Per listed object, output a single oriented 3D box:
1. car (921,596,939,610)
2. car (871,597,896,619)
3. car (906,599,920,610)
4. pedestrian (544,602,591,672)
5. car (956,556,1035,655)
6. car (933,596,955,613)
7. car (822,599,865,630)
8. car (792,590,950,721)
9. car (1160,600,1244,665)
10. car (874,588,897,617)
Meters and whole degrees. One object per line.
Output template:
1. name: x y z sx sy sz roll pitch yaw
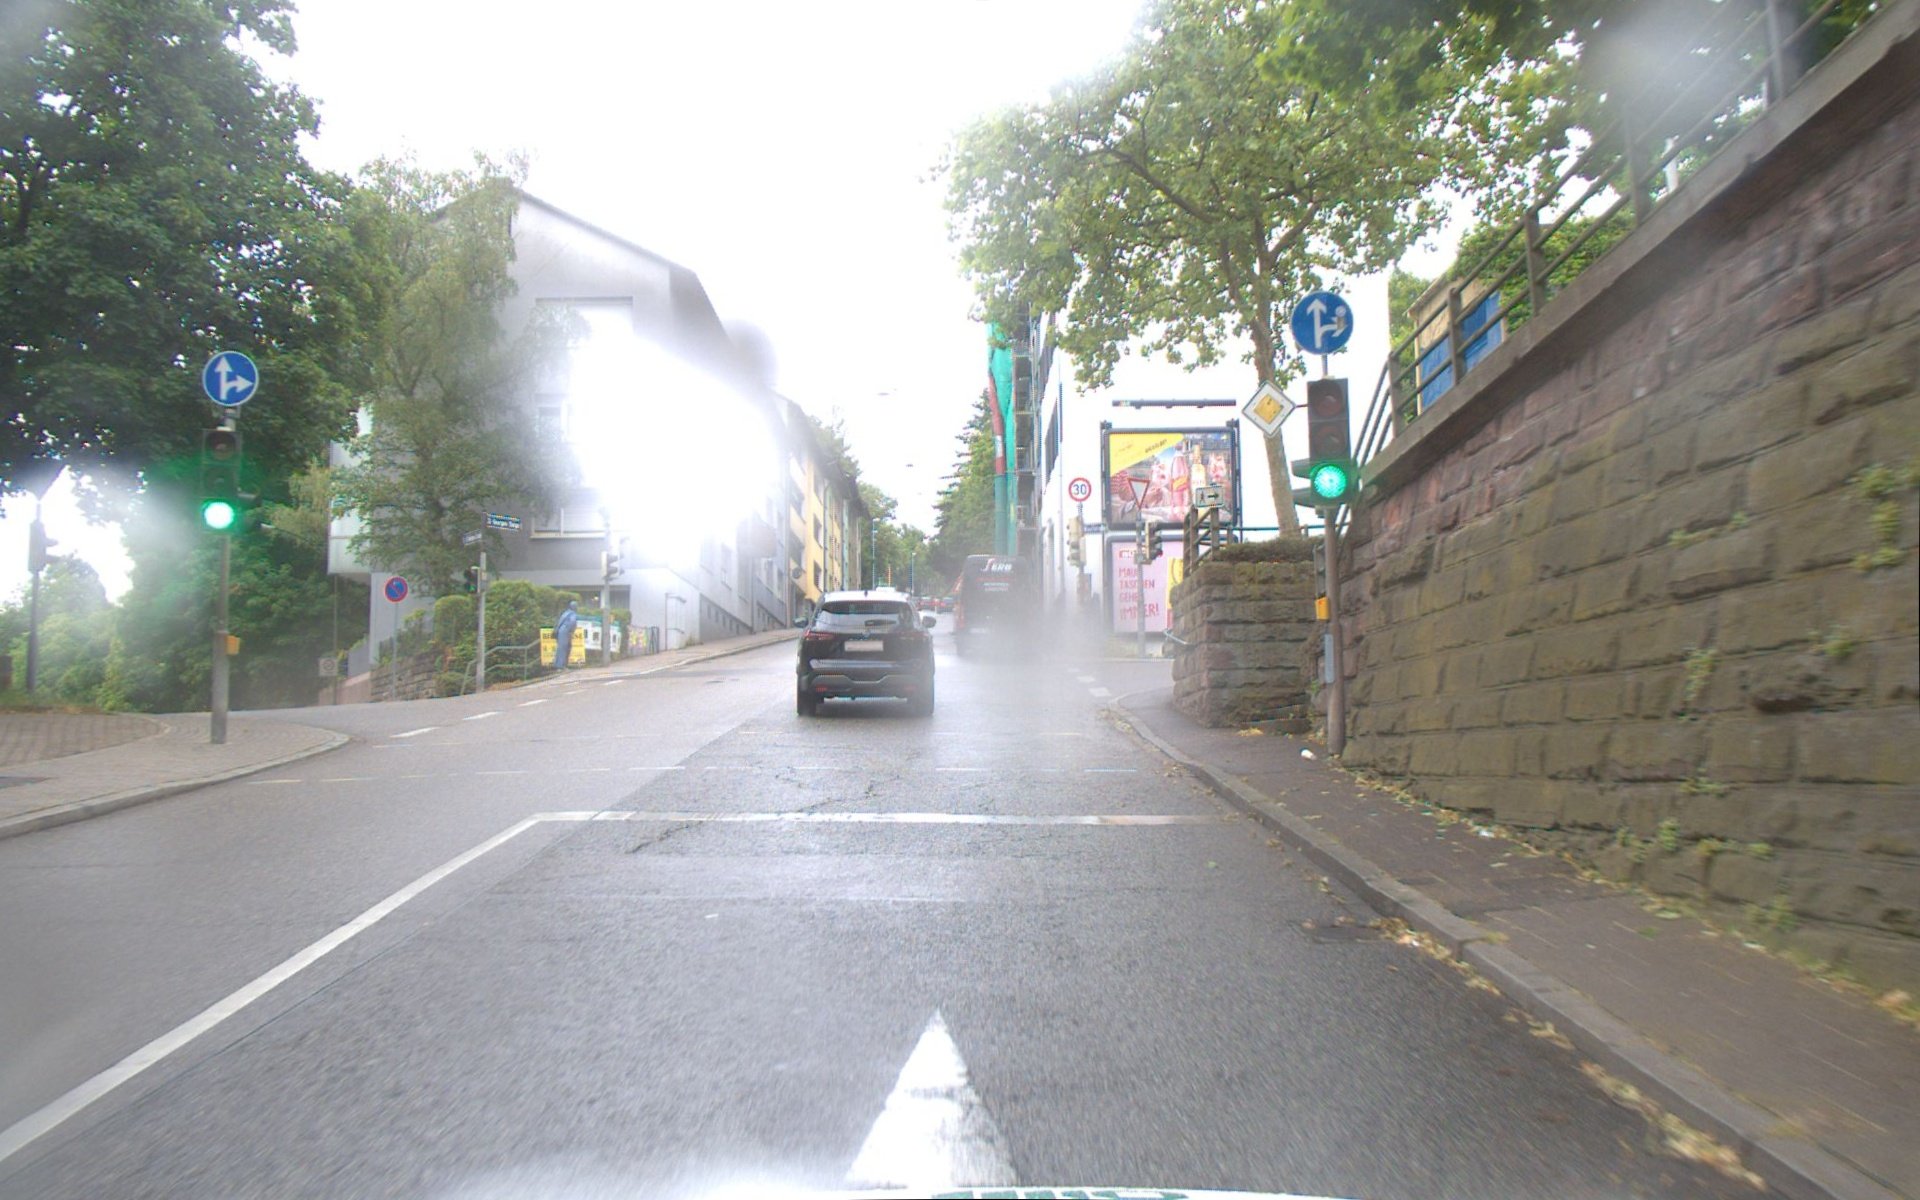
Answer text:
1. car: -3.518 0.317 192.595 2.032 1.587 3.999 0 0 -2
2. car: -6.382 0.676 138.340 1.950 1.786 4.478 -1 0 -2
3. car: -7.042 0.672 247.985 2.032 1.587 3.999 0 0 -2
4. pedestrian: -9.111 0.866 38.398 0.852 1.568 1.086 1 -2 -4
5. car: 0.902 0.227 44.838 1.953 2.456 5.835 1 -2 0
6. car: -1.523 0.421 154.891 2.033 1.587 3.998 0 0 -2
7. car: -6.491 0.792 92.491 1.952 1.679 4.442 -1 0 2
8. car: -1.127 0.684 22.693 1.953 1.587 4.000 1 1 -1
9. car: 6.112 0.792 42.106 1.530 1.510 4.000 1 1 0
10. car: -6.645 0.201 148.081 1.950 2.518 5.782 -1 0 -2
